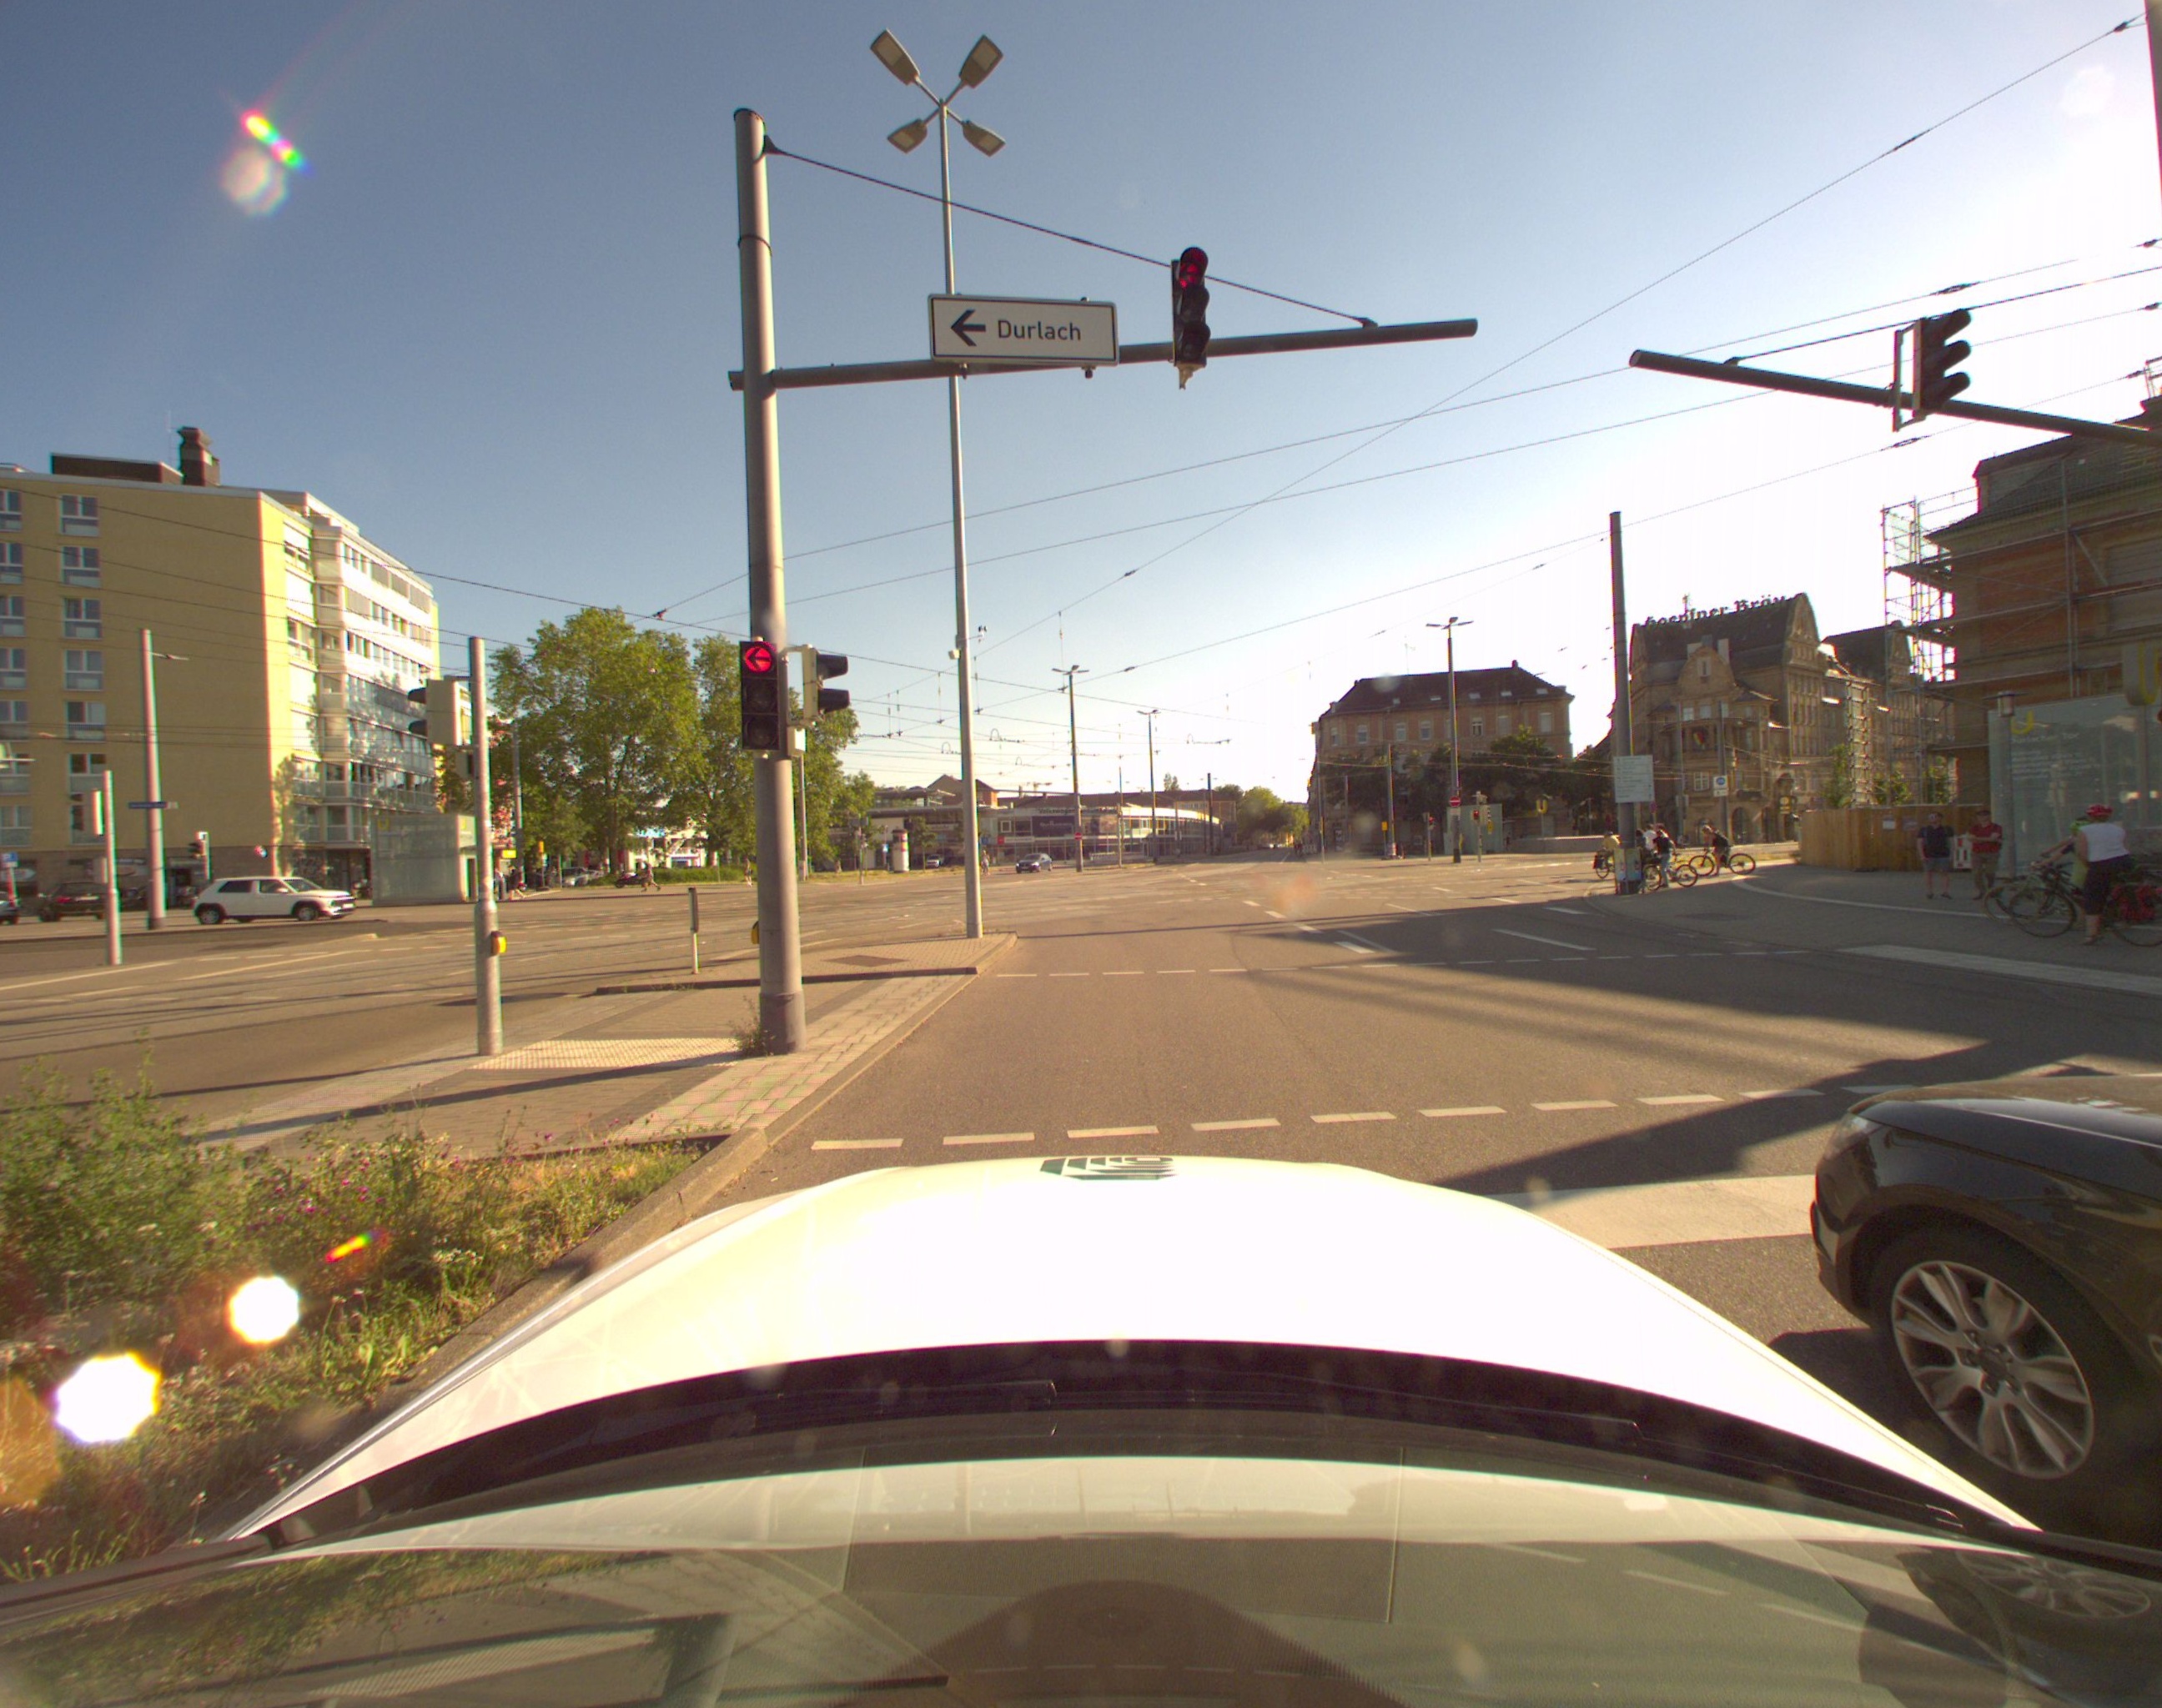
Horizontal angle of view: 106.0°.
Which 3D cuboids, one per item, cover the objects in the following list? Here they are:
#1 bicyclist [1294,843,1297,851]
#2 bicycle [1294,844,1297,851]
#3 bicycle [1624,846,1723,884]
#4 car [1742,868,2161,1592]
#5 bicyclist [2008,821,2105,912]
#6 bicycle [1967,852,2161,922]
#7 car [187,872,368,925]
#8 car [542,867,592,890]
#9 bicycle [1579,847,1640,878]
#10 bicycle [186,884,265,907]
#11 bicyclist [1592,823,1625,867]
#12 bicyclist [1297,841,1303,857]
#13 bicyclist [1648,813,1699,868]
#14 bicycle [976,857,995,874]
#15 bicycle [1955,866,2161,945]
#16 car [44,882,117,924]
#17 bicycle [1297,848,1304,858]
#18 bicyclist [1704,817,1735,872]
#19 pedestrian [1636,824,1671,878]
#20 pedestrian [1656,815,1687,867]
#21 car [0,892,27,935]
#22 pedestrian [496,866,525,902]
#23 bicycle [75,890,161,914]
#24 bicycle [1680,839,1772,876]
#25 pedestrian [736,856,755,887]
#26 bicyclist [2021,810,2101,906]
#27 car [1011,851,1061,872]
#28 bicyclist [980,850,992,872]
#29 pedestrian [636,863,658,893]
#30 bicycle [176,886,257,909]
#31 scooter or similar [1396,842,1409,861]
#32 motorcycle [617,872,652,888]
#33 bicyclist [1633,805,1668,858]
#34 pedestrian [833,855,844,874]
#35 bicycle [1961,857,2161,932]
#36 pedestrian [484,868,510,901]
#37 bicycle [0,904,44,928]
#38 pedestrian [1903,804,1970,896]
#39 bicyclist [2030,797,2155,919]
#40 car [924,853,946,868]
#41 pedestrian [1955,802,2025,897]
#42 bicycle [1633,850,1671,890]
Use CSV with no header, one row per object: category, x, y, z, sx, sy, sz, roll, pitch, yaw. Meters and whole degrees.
bicyclist,29.424,-0.976,111.551,0.405,1.116,0.400,-1,-1,13
bicycle,29.483,-0.883,111.744,0.407,0.941,1.852,-1,-1,15
bicycle,17.196,0.303,23.724,0.701,1.049,2.303,0,-1,-22
car,2.897,0.736,0.628,1.617,1.404,4.001,0,-1,2
bicyclist,14.431,0.180,12.067,0.614,1.315,0.673,0,-1,-3
bicycle,15.431,0.484,12.735,0.661,0.963,2.018,-4,1,-25
car,-27.165,1.468,27.694,3.994,1.662,1.777,0,-1,-15
car,-37.309,1.723,59.232,1.772,1.567,3.983,0,-1,-12
bicycle,19.192,0.287,29.646,0.533,1.049,2.315,0,1,-6
bicycle,-46.425,2.253,44.245,3.041,1.151,0.637,0,-1,-16
bicyclist,19.191,-0.311,29.657,0.514,1.557,0.945,0,-1,-5
bicyclist,23.158,-0.487,86.164,0.516,1.700,0.517,0,-1,4
bicyclist,17.214,-0.373,23.667,0.711,1.557,0.940,0,-1,-22
bicycle,-7.040,0.852,59.956,0.607,1.189,1.878,-1,-1,19
bicycle,13.452,0.653,11.176,0.656,0.963,2.033,0,-1,-3
car,-44.238,2.110,35.993,3.948,1.706,1.730,-1,-1,35
bicycle,23.215,-0.105,86.260,0.652,0.952,1.607,-1,-1,17
bicyclist,21.004,-0.311,26.805,0.785,1.779,0.526,-1,-1,37
pedestrian,21.286,-0.109,30.308,0.730,2.014,0.760,0,-1,-6
pedestrian,22.027,-0.492,30.388,0.646,1.922,0.689,0,-1,-6
car,-46.918,2.539,34.844,3.948,1.706,2.013,-1,-1,35
pedestrian,-27.336,1.413,39.032,0.790,1.706,0.760,-1,-1,9
bicycle,-50.245,2.478,42.504,3.041,1.151,0.637,0,-1,-16
bicycle,21.108,0.128,26.724,2.290,1.049,0.539,-5,-1,36
pedestrian,-20.736,1.061,50.400,0.790,1.886,0.760,-1,-1,9
bicyclist,15.388,0.067,12.799,0.619,1.454,0.667,0,-1,-27
car,-3.382,0.566,61.997,1.975,1.585,4.024,-1,-1,29
bicyclist,-6.985,0.549,60.108,0.593,1.615,0.826,-1,-1,19
pedestrian,-24.746,1.361,46.403,0.790,1.706,0.760,-1,-1,9
bicycle,-46.229,2.304,43.568,3.041,1.151,0.637,0,-1,-16
scooter or similar,24.693,-0.176,62.573,0.780,1.376,1.916,-1,-1,16
motorcycle,-27.266,1.580,49.751,1.779,0.914,0.675,0,-1,-19
bicyclist,15.973,-0.623,22.863,0.701,1.439,0.953,-1,-1,30
pedestrian,-22.139,0.957,74.303,0.854,1.694,0.497,0,-1,-1
bicycle,14.448,0.550,11.999,0.657,0.963,2.033,-4,0,-3
pedestrian,-30.808,1.596,42.980,0.790,1.706,0.760,-1,-1,9
bicycle,-54.544,3.125,41.015,3.041,1.151,0.637,0,-1,-16
pedestrian,17.339,-0.083,16.513,0.672,1.807,0.680,-3,0,-19
bicyclist,13.467,0.052,10.864,0.664,1.553,0.794,0,-1,-3
car,-17.920,0.810,99.952,1.988,1.750,3.997,0,-1,-1
pedestrian,17.747,-0.091,15.909,0.672,1.807,0.680,0,-1,-19
bicycle,15.999,0.414,22.851,0.692,1.049,2.335,0,1,31
